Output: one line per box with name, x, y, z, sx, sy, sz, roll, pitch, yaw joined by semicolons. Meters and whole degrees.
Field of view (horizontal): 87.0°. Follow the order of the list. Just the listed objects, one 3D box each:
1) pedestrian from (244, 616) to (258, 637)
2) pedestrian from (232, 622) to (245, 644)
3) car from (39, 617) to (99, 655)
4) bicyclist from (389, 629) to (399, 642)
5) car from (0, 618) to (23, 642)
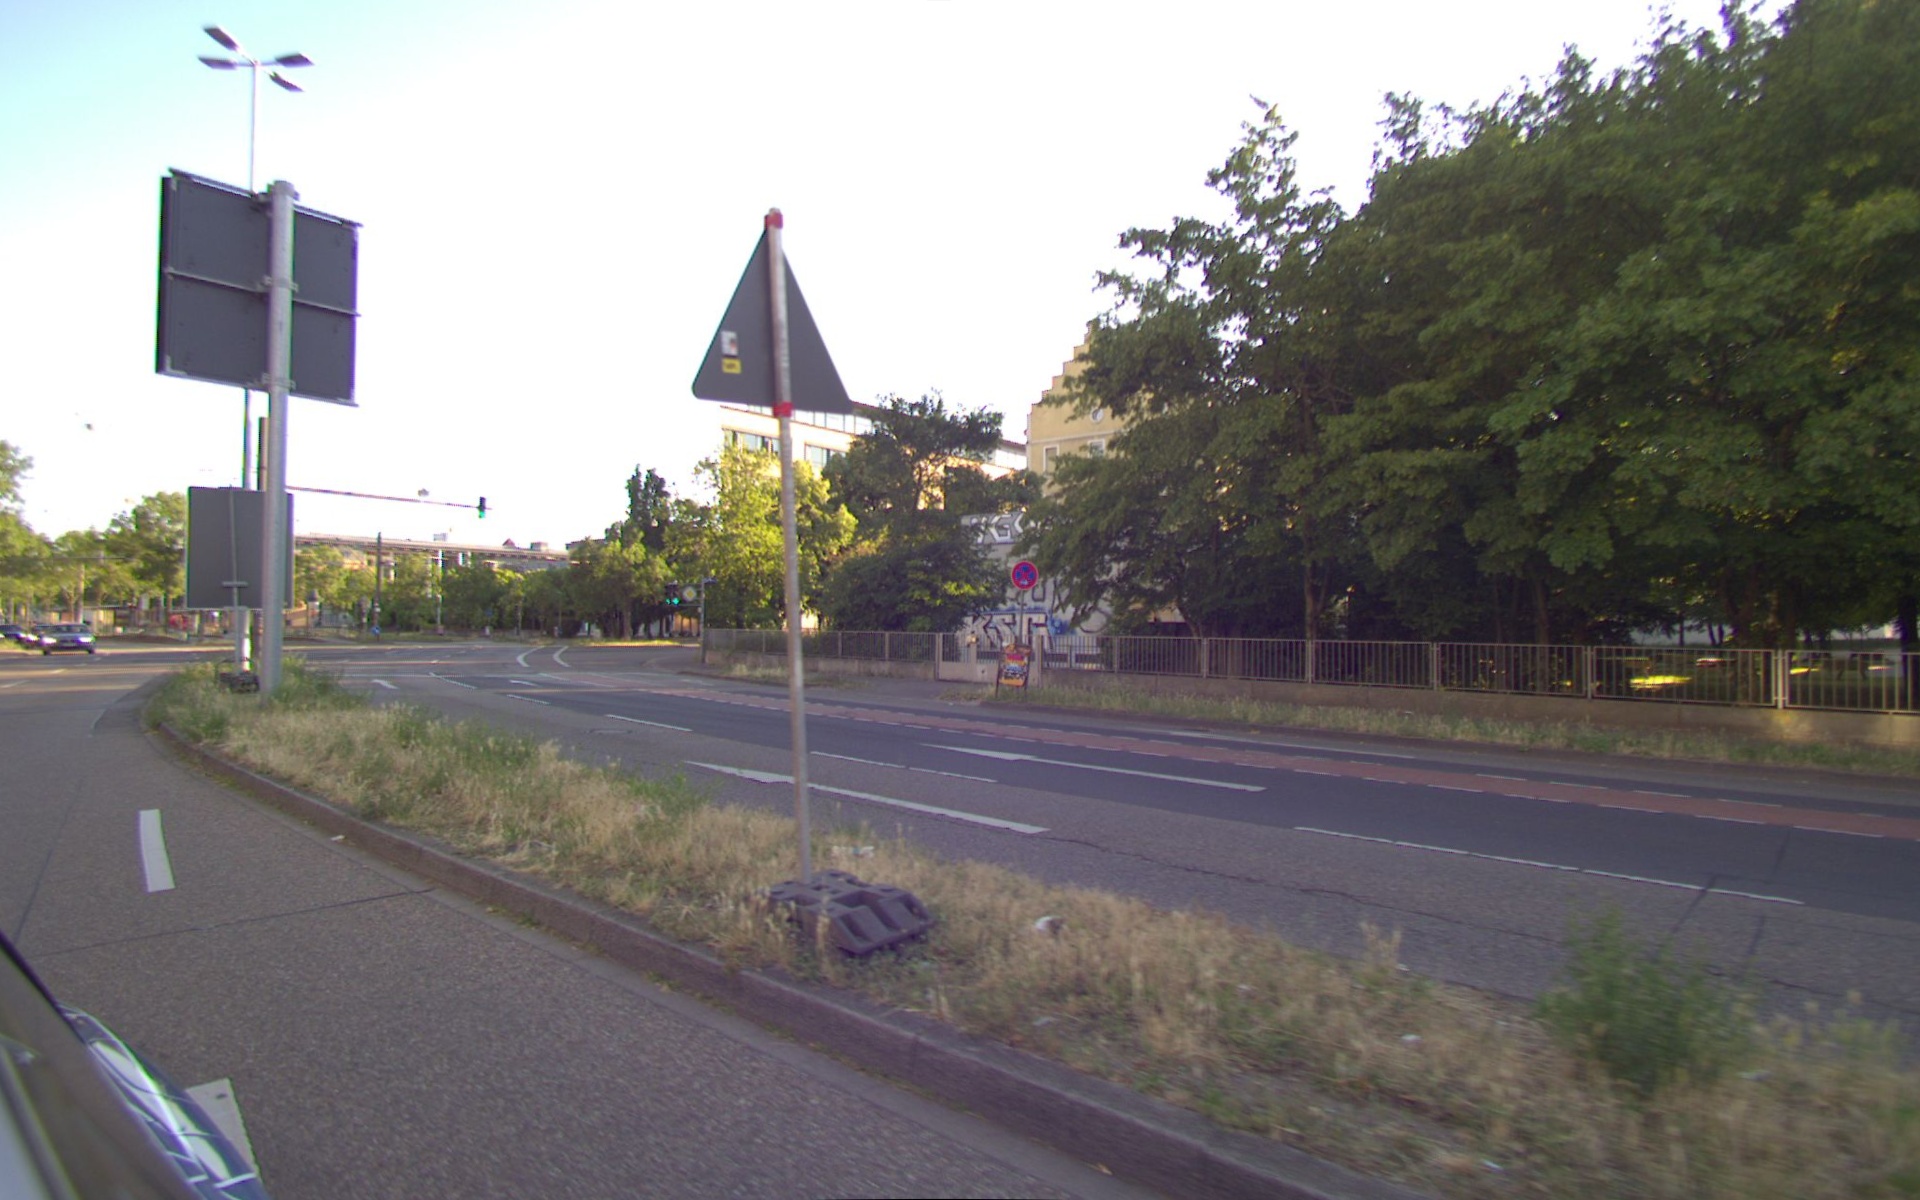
pedestrian;-66.299;2.482;94.656;1.127;2.029;0.761;-2;-3;42
pedestrian;-67.369;3.039;94.461;1.127;2.029;0.761;-2;-3;42
car;-41.429;1.646;47.018;1.970;1.678;4.004;2;-2;-43
bicyclist;-61.969;3.899;110.780;0.827;1.479;0.759;-1;-2;43
car;-69.207;2.185;73.285;1.970;1.678;4.004;2;-2;-43
